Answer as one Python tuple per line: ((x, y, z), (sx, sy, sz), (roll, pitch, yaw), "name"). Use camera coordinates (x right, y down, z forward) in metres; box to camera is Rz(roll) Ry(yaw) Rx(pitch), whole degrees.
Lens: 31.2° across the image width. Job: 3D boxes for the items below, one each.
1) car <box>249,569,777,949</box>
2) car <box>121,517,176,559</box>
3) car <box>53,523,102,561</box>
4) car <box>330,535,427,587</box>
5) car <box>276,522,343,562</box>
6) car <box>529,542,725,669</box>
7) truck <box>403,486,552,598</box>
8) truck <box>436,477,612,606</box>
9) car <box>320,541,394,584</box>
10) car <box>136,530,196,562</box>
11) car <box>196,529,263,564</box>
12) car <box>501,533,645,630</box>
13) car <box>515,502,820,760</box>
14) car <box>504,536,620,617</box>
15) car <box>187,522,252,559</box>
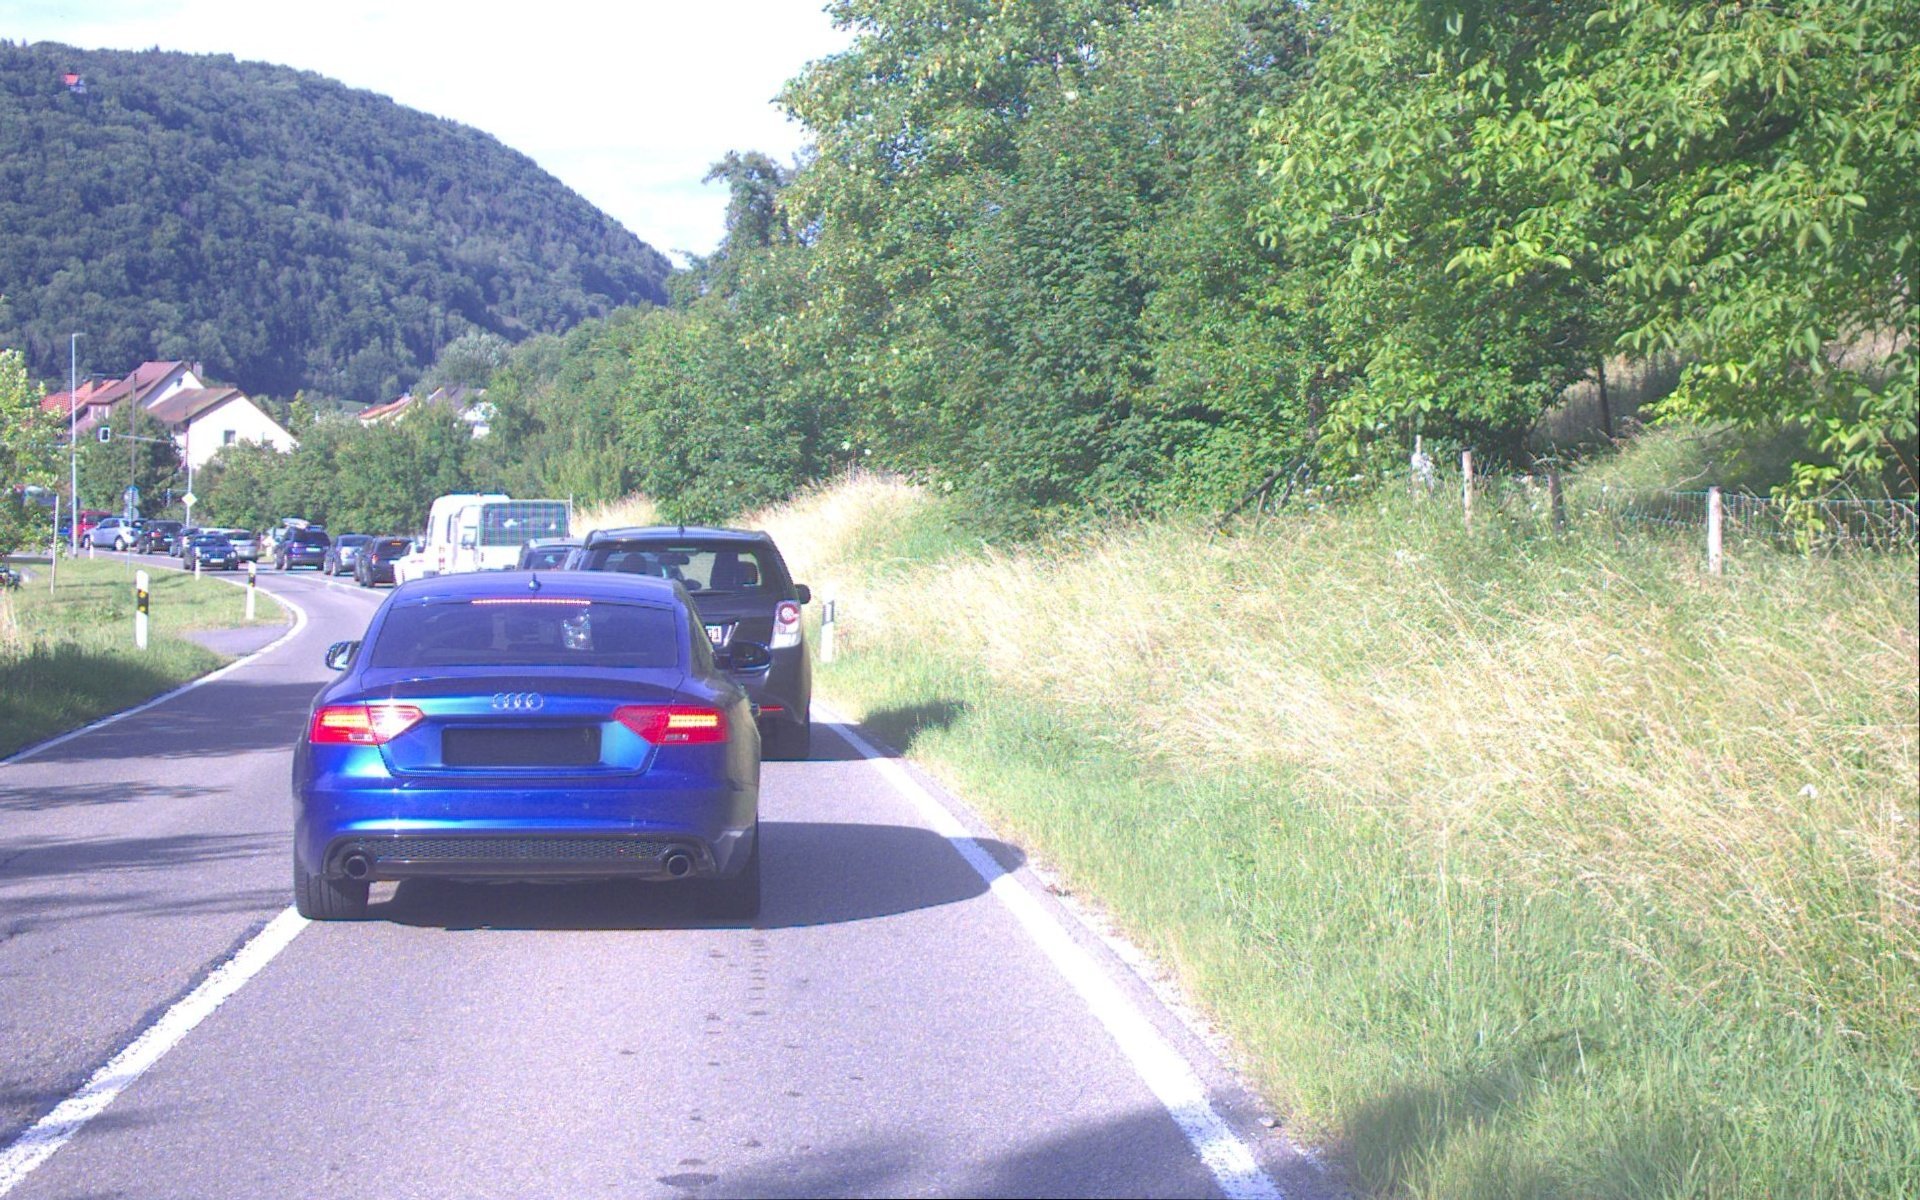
((-1.736, 0.561, 14.555), (1.793, 1.355, 4.000), (0, 1, -1), "car")
((-40.075, -3.052, 169.721), (1.993, 2.007, 4.001), (0, 1, -23), "car")
((-47.925, -3.121, 186.674), (1.993, 2.007, 4.001), (0, 1, -23), "car")
((-17.195, -1.156, 101.582), (1.993, 1.477, 4.001), (0, 1, -22), "car")
((-24.885, -2.202, 131.487), (1.993, 1.477, 4.001), (0, 1, -18), "car")
((-3.889, 0.040, 39.657), (1.993, 1.382, 4.001), (1, 1, -9), "car")
((-12.470, -1.483, 88.053), (2.863, 2.656, 10.648), (0, 1, -13), "truck")
((-9.827, -1.307, 76.538), (2.863, 2.656, 10.396), (0, 1, -13), "truck")
((-21.151, -1.307, 120.454), (1.993, 1.477, 4.001), (0, 1, -18), "car")
((-37.384, -2.539, 161.848), (1.993, 1.477, 4.001), (0, 1, -24), "car")
((-31.430, -2.304, 147.823), (1.993, 1.477, 4.001), (0, 1, -24), "car")
((-6.223, -0.301, 54.979), (1.993, 1.477, 4.001), (1, 1, -11), "car")
((-2.021, 0.188, 24.808), (1.993, 1.696, 4.000), (1, 1, -2), "car")
((-7.581, -0.449, 65.229), (1.993, 1.477, 4.001), (1, 1, -9), "car")
((-28.035, -2.237, 130.105), (1.993, 1.371, 4.001), (0, 1, -18), "car")
